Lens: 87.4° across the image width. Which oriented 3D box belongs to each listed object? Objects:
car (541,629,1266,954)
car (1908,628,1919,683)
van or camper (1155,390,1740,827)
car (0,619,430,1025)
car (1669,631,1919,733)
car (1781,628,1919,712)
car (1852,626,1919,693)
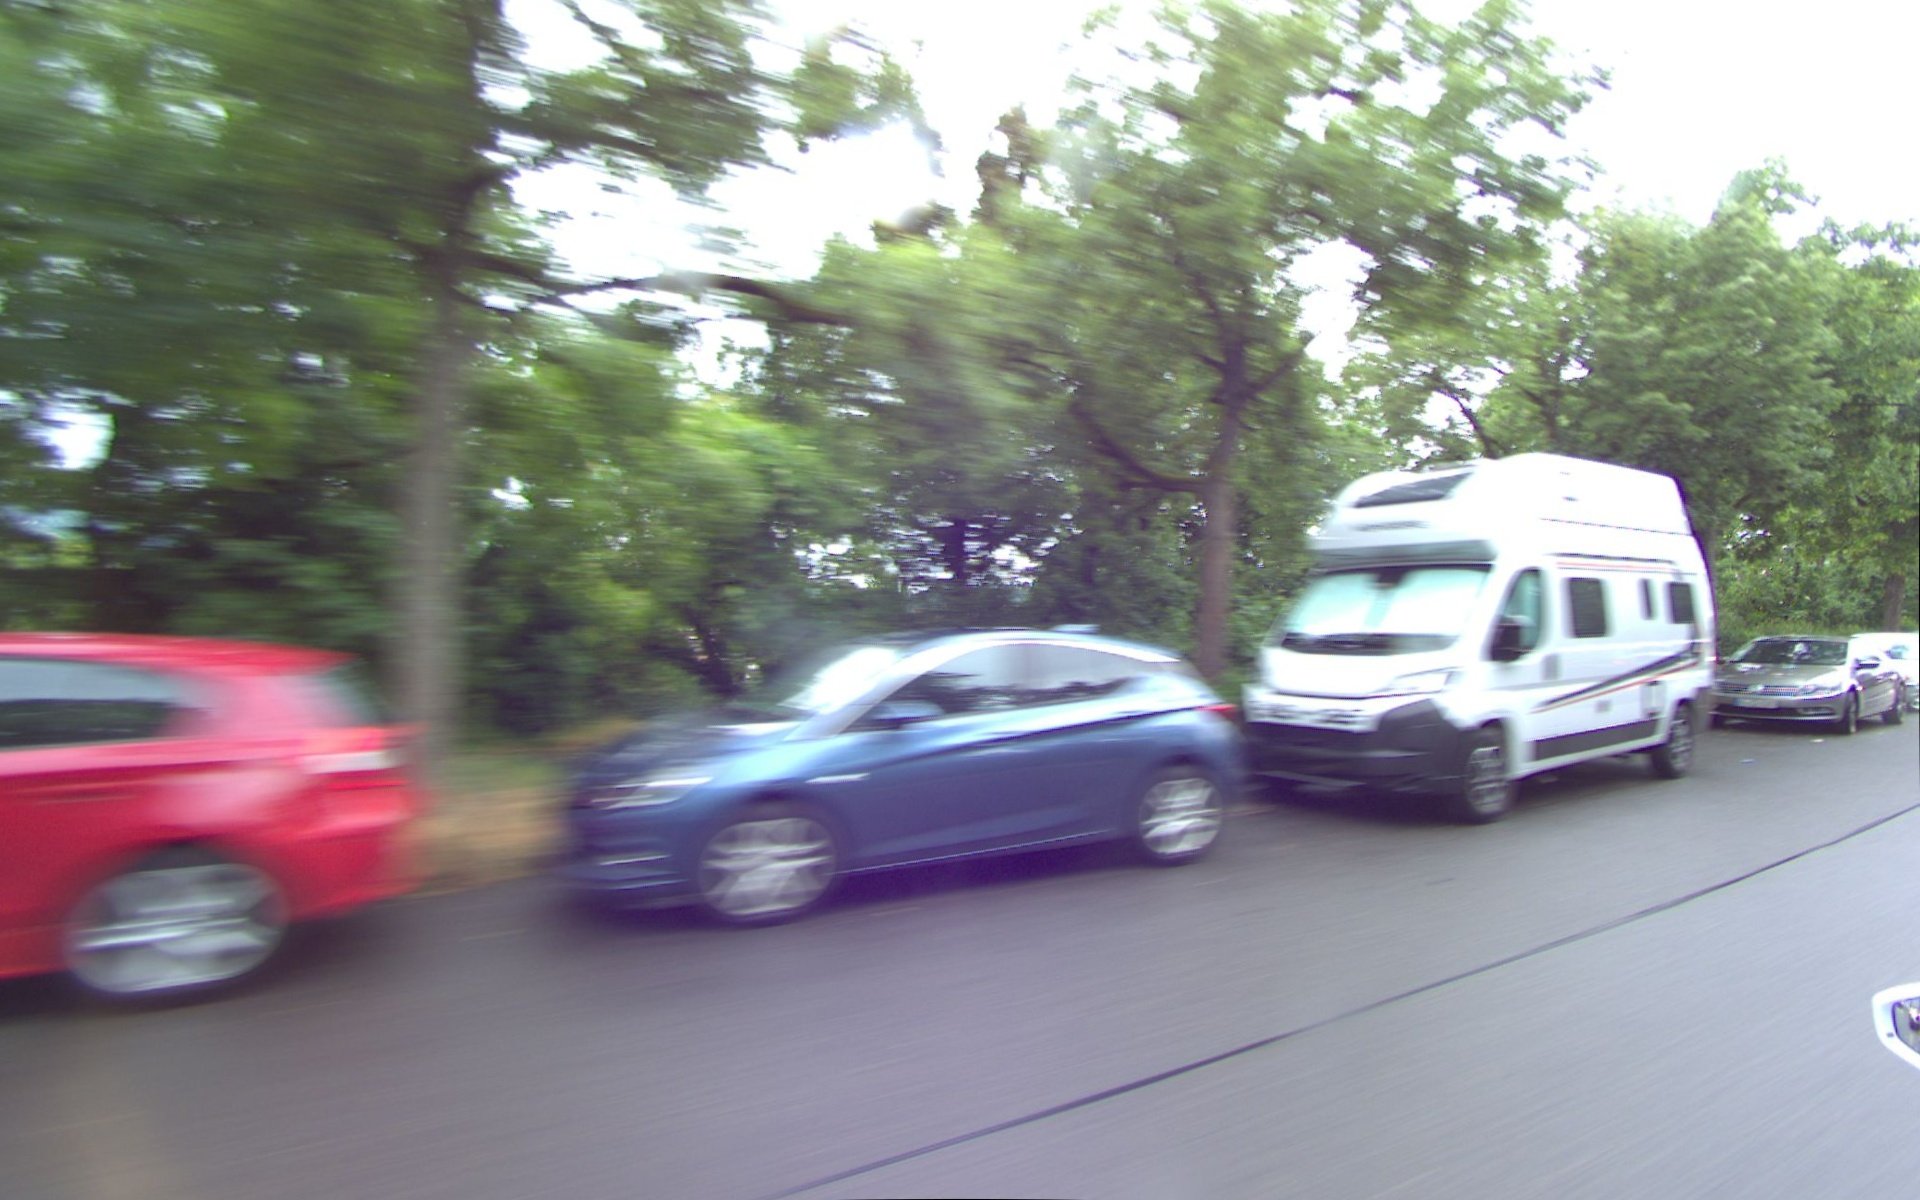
[{"bbox_3d":[-0.291,0.921,6.342,4.158,1.426,1.946,1,-3,-30],"label":"car"},{"bbox_3d":[26.957,1.461,26.475,4.667,1.423,1.981,2,-2,-35],"label":"car"},{"bbox_3d":[5.115,0.208,10.013,6.501,3.065,2.488,2,-5,-37],"label":"van or camper"},{"bbox_3d":[-4.222,0.821,4.211,3.499,1.426,1.947,1,-3,-28],"label":"car"},{"bbox_3d":[13.635,1.202,16.211,5.303,1.326,1.980,0,-2,-36],"label":"car"},{"bbox_3d":[18.531,1.310,20.102,4.664,1.424,1.982,0,-1,-34],"label":"car"},{"bbox_3d":[22.403,1.342,22.995,4.667,1.423,1.981,2,-2,-35],"label":"car"}]
